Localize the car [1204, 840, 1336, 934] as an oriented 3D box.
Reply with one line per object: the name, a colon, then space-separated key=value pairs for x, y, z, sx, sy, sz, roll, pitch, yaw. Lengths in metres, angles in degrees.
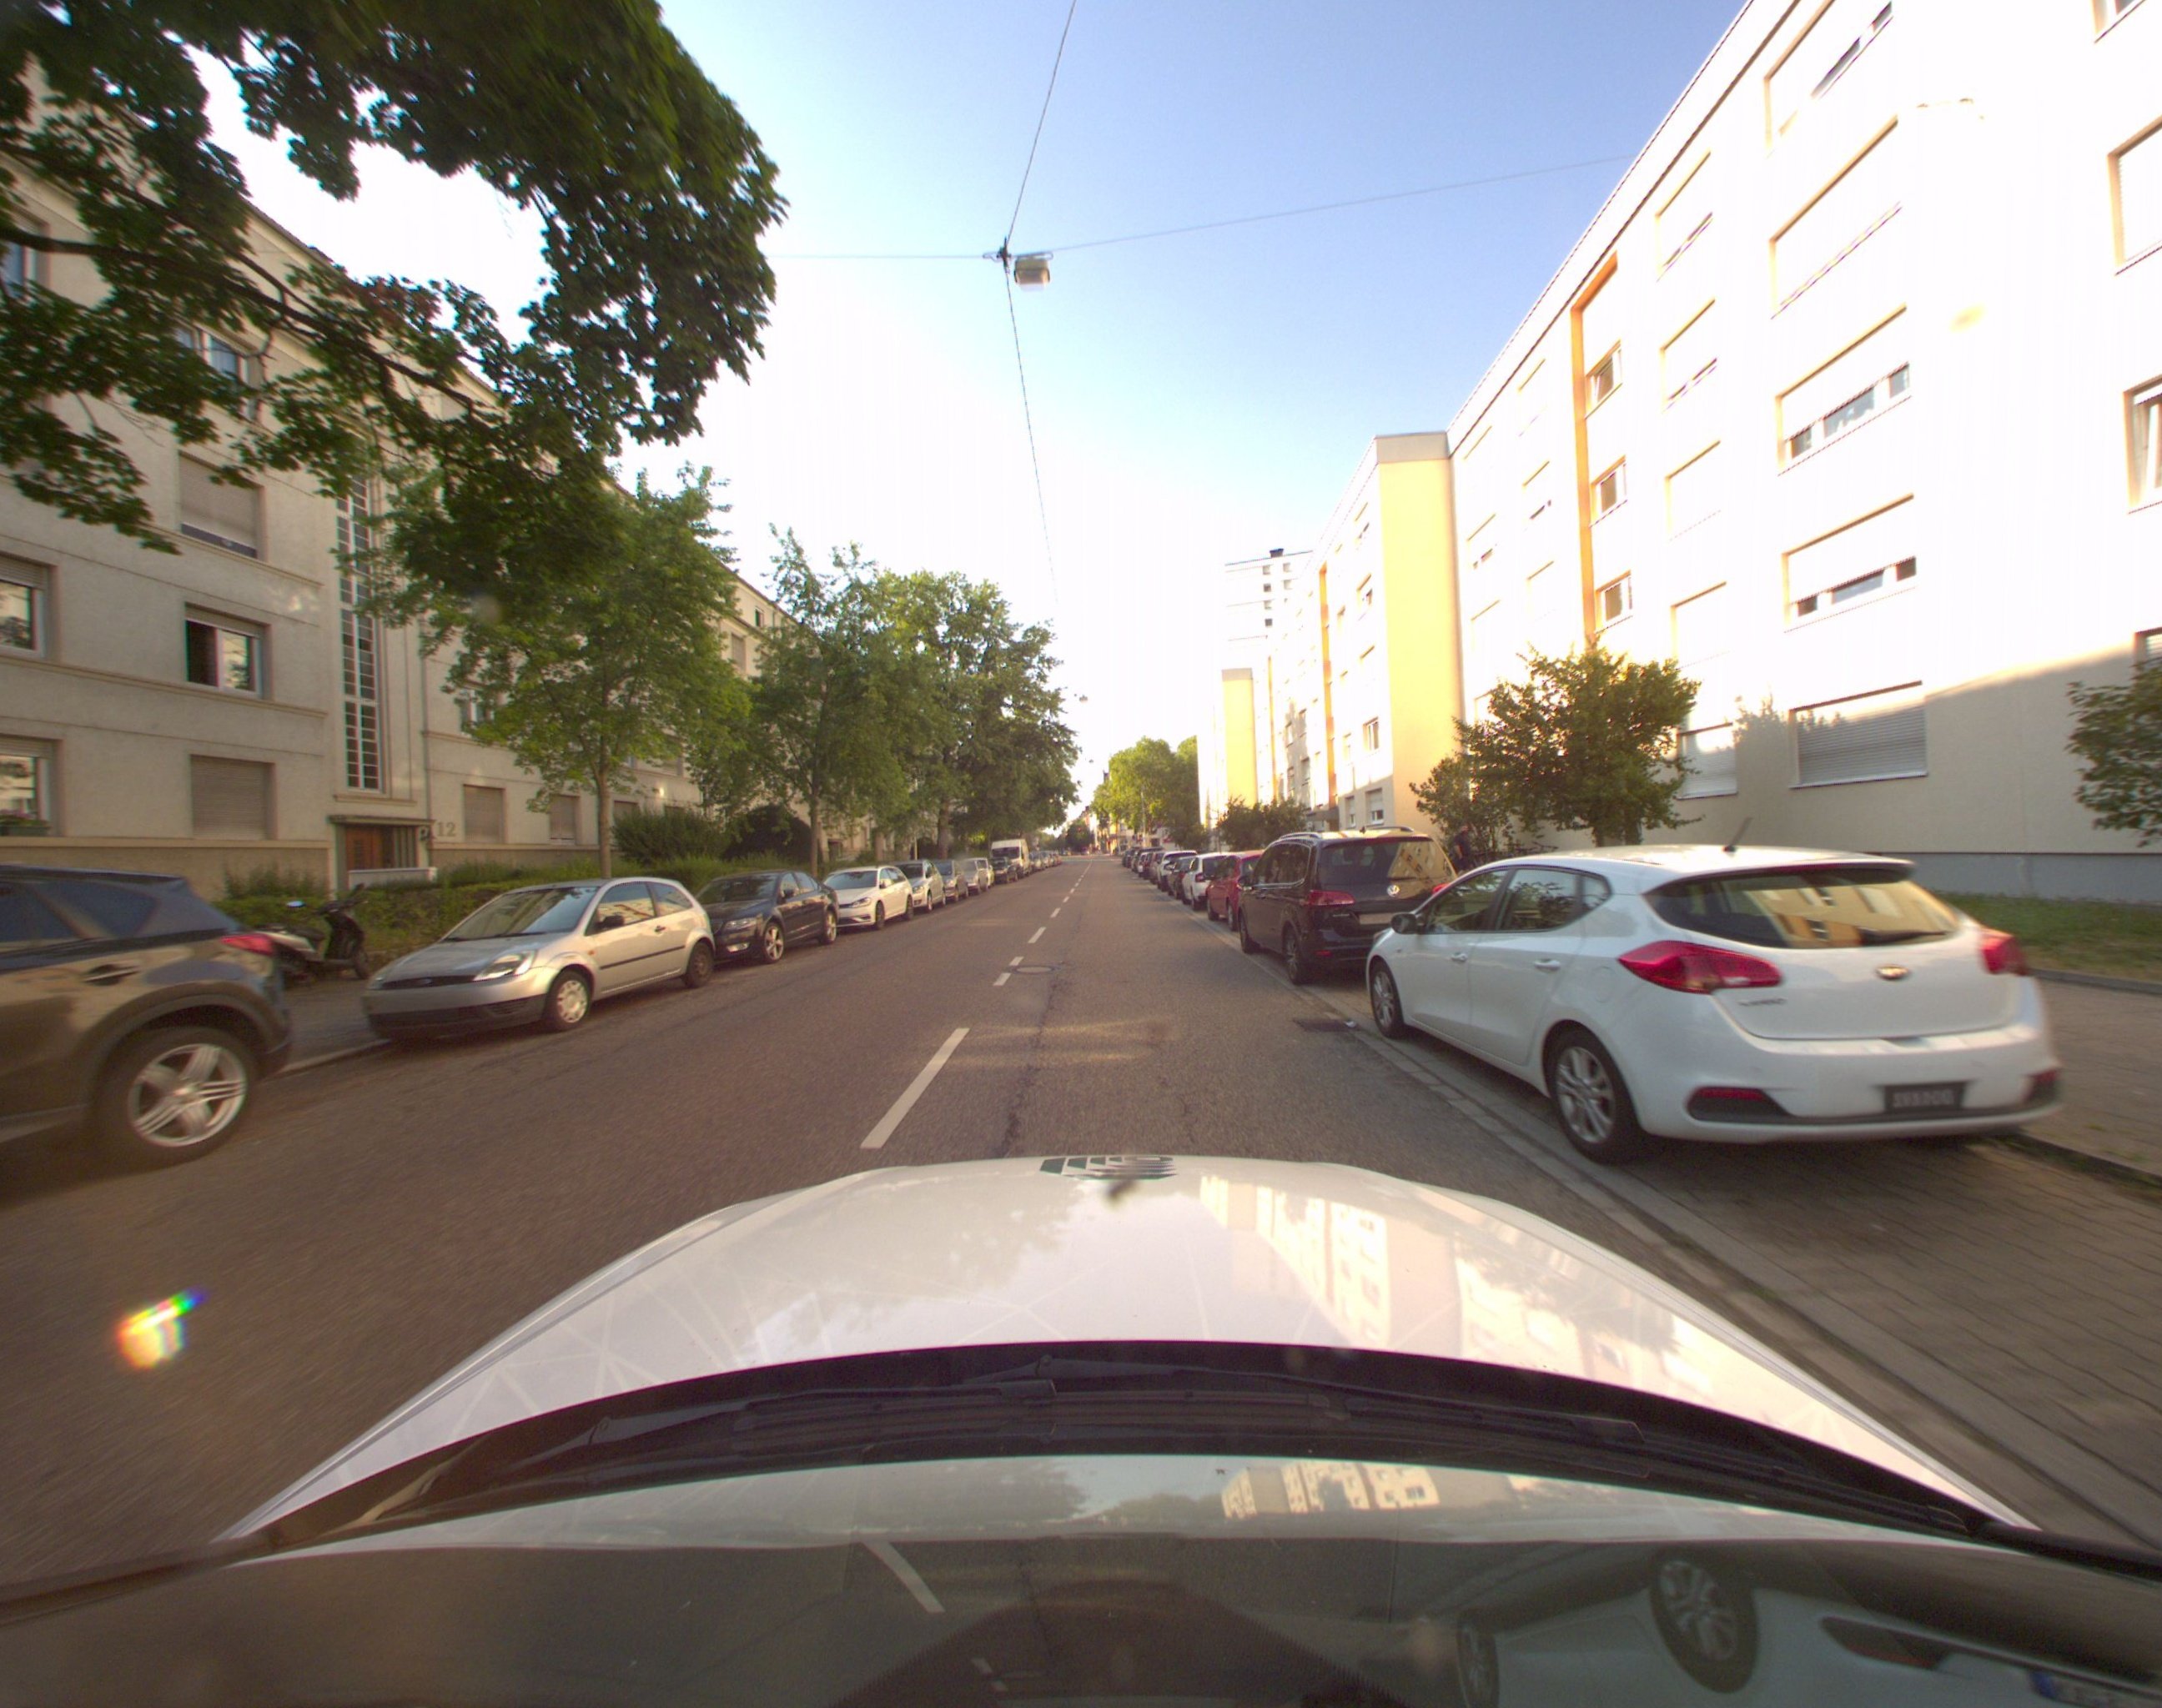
car: x=3.626 y=0.588 z=16.324 sx=1.765 sy=1.616 sz=4.001 roll=-1 pitch=0 yaw=1

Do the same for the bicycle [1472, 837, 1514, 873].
bicycle: x=11.370 y=0.039 z=22.523 sx=0.435 sy=0.942 sz=1.794 roll=-1 pitch=0 yaw=7

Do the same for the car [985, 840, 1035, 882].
car: x=-4.381 y=0.440 z=51.240 sx=2.349 sy=2.445 sz=6.167 roll=-1 pitch=0 yaw=2

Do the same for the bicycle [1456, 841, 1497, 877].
bicycle: x=10.932 y=0.141 z=22.550 sx=0.435 sy=0.942 sz=1.794 roll=-1 pitch=0 yaw=7

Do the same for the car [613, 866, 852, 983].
car: x=-5.499 y=1.007 z=13.680 sx=1.868 sy=1.434 sz=4.802 roll=-5 pitch=0 yaw=0

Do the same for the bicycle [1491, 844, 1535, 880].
bicycle: x=11.934 y=0.220 z=22.528 sx=0.435 sy=0.942 sz=1.794 roll=-1 pitch=0 yaw=7

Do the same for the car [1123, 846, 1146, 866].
car: x=4.722 y=0.162 z=72.434 sx=1.891 sy=1.651 sz=4.343 roll=1 pitch=1 yaw=1

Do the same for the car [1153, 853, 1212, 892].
car: x=4.015 y=0.717 z=32.795 sx=1.867 sy=1.442 sz=3.999 roll=-1 pitch=0 yaw=0

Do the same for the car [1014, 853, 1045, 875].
car: x=-3.794 y=0.717 z=60.218 sx=1.864 sy=1.558 sz=4.366 roll=-1 pitch=0 yaw=1

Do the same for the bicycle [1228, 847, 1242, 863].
bicycle: x=11.286 y=0.069 z=59.667 sx=0.598 sy=1.081 sz=2.394 roll=-4 pitch=2 yaw=1

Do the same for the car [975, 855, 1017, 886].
car: x=-4.558 y=0.856 z=44.133 sx=1.701 sy=1.574 sz=3.820 roll=-1 pitch=0 yaw=2

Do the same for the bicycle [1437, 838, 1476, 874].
bicycle: x=10.406 y=0.063 z=22.629 sx=0.435 sy=0.942 sz=1.794 roll=-1 pitch=0 yaw=7

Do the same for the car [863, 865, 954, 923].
car: x=-5.126 y=1.141 z=24.729 sx=1.867 sy=1.552 sz=3.999 roll=-1 pitch=0 yaw=0

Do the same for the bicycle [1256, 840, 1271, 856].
bicycle: x=13.370 y=-0.457 z=59.754 sx=0.598 sy=1.081 sz=2.394 roll=-4 pitch=2 yaw=1

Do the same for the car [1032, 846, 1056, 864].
car: x=-3.530 y=0.101 z=78.997 sx=1.909 sy=1.677 sz=4.975 roll=-1 pitch=0 yaw=1

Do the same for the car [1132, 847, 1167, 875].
car: x=4.583 y=0.442 z=54.718 sx=2.017 sy=1.750 sz=4.768 roll=-1 pitch=0 yaw=1

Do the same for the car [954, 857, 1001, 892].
car: x=-4.901 y=0.930 z=38.907 sx=1.701 sy=1.574 sz=3.262 roll=-1 pitch=0 yaw=2

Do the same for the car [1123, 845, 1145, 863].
car: x=5.042 y=-0.014 z=78.065 sx=1.920 sy=1.659 sz=4.678 roll=-1 pitch=0 yaw=1

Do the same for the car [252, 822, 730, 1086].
car: x=-5.776 y=0.839 z=8.773 sx=1.986 sy=2.013 sz=4.001 roll=-5 pitch=0 yaw=2

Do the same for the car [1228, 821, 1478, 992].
car: x=3.236 y=0.553 z=10.762 sx=1.765 sy=1.677 sz=4.648 roll=-3 pitch=0 yaw=1

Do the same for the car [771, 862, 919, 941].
car: x=-5.345 y=1.010 z=19.139 sx=1.997 sy=1.552 sz=4.473 roll=-1 pitch=0 yaw=2

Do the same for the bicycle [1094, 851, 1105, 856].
bicycle: x=4.839 y=-0.048 z=216.393 sx=2.799 sy=1.203 sz=0.509 roll=-1 pitch=-1 yaw=-6

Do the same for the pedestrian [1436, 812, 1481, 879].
pedestrian: x=9.760 y=-0.214 z=21.079 sx=0.763 sy=1.658 sz=0.536 roll=-5 pitch=-1 yaw=1

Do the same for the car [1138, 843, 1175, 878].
car: x=4.112 y=0.361 z=44.779 sx=1.830 sy=1.772 sz=3.981 roll=-2 pitch=0 yaw=2

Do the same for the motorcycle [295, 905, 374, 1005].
motorcycle: x=-9.930 y=1.301 z=10.868 sx=0.578 sy=1.178 sz=1.250 roll=-1 pitch=-1 yaw=-34

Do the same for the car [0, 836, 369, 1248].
car: x=-5.597 y=0.892 z=2.890 sx=1.868 sy=1.759 sz=4.688 roll=-6 pitch=0 yaw=0

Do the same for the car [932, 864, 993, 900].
car: x=-4.886 y=1.114 z=34.136 sx=1.867 sy=1.355 sz=4.652 roll=-1 pitch=0 yaw=0

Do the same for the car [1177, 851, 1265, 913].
car: x=3.742 y=0.711 z=22.369 sx=1.765 sy=1.454 sz=4.001 roll=-3 pitch=0 yaw=1

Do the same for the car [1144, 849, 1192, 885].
car: x=4.185 y=0.625 z=39.844 sx=1.955 sy=1.605 sz=4.281 roll=-1 pitch=0 yaw=2

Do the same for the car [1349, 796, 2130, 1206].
car: x=3.257 y=0.592 z=5.223 sx=1.765 sy=1.508 sz=4.001 roll=-4 pitch=0 yaw=1

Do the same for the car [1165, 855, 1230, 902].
car: x=3.858 y=0.768 z=27.619 sx=1.655 sy=1.438 sz=4.314 roll=-1 pitch=0 yaw=1

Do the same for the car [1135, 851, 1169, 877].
car: x=4.273 y=0.594 z=49.411 sx=1.830 sy=1.501 sz=4.175 roll=-1 pitch=0 yaw=3

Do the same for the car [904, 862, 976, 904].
car: x=-5.001 y=1.002 z=29.346 sx=1.867 sy=1.355 sz=3.999 roll=-1 pitch=0 yaw=0

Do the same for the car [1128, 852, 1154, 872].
car: x=4.432 y=0.565 z=60.436 sx=1.673 sy=1.415 sz=4.725 roll=-1 pitch=0 yaw=1

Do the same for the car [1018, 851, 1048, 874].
car: x=-3.939 y=0.653 z=67.667 sx=1.864 sy=1.558 sz=5.058 roll=-7 pitch=1 yaw=1
